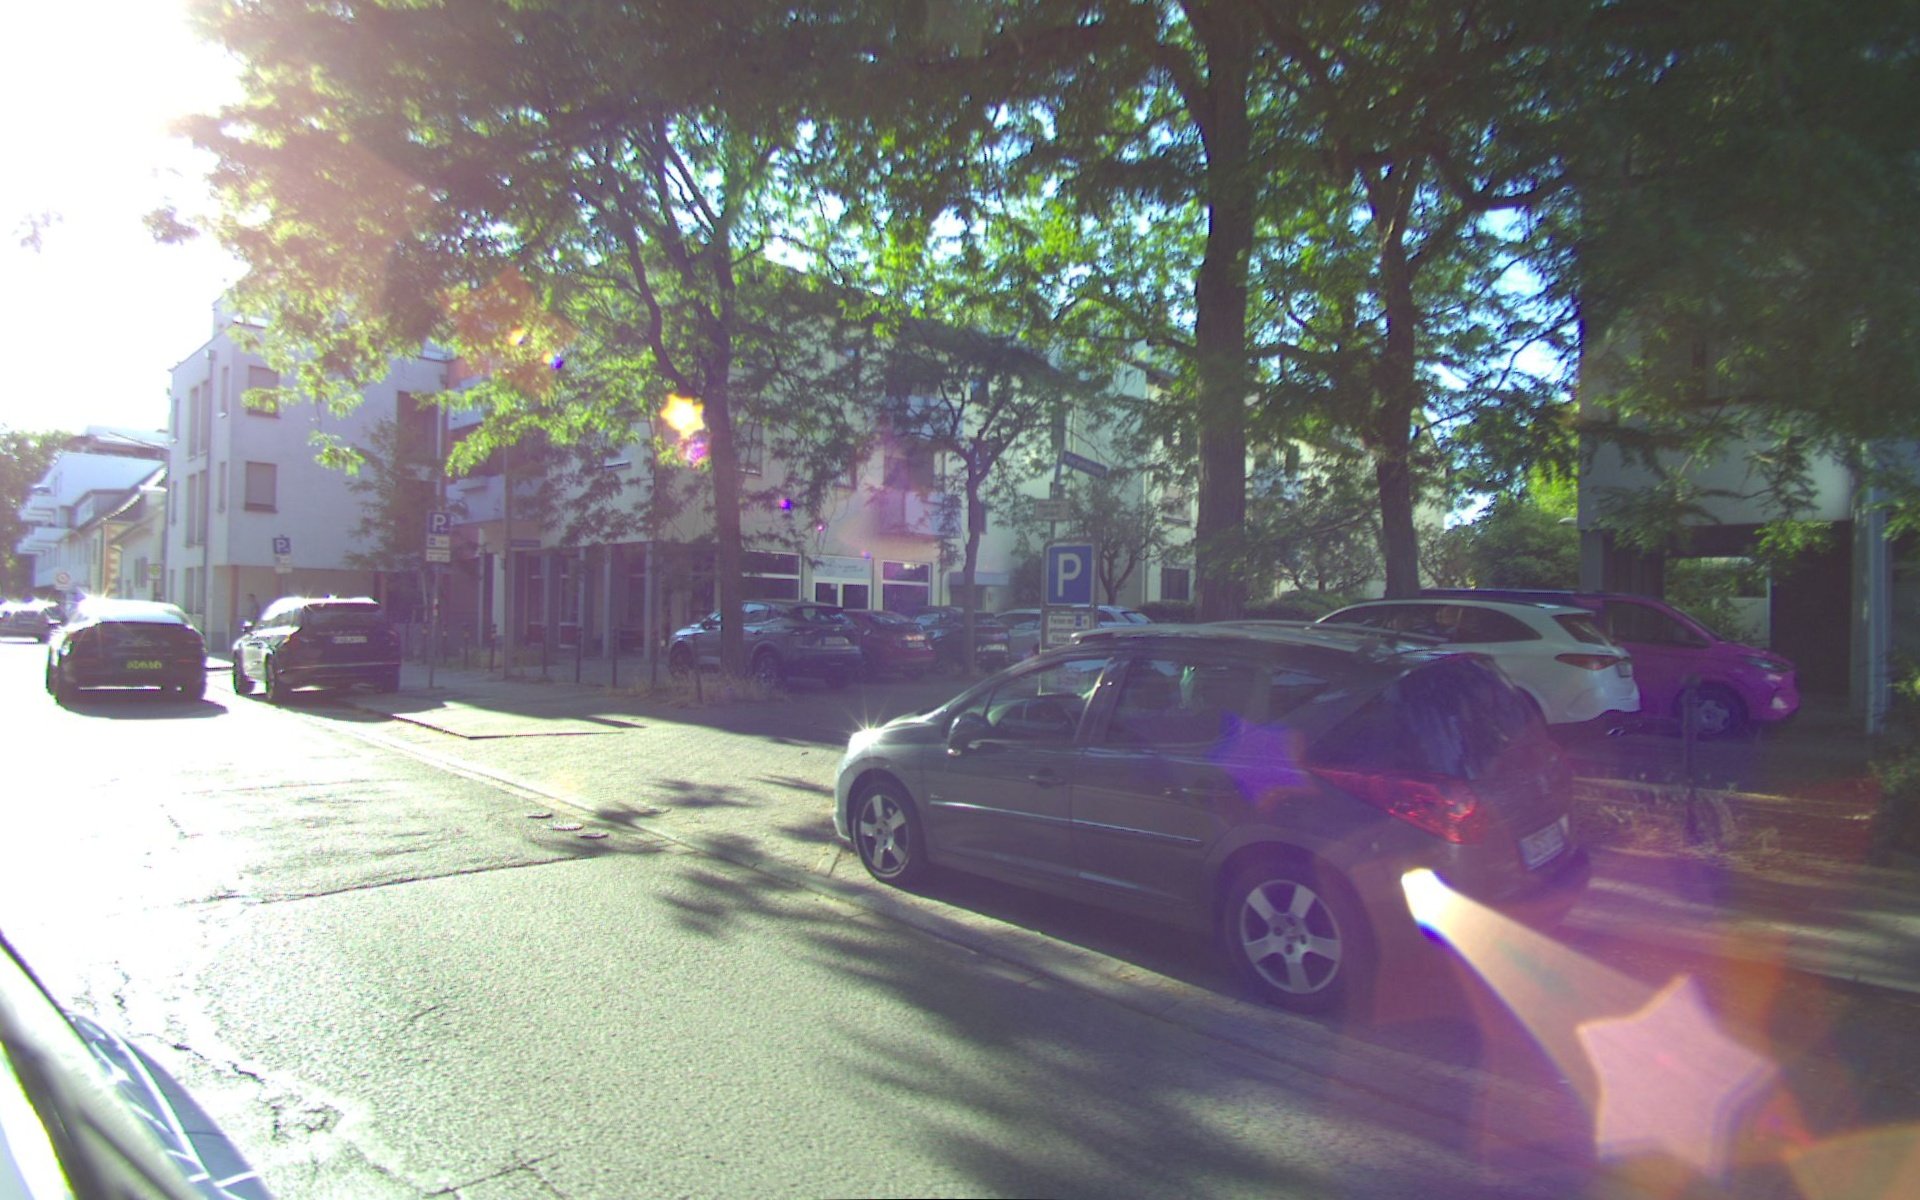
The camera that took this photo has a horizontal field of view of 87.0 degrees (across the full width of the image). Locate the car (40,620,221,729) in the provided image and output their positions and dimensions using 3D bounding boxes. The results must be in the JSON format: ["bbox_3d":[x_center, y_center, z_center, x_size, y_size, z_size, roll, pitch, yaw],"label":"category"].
[{"bbox_3d":[-14.128,1.167,17.144,4.321,1.588,1.916,-1,-3,45],"label":"car"}]

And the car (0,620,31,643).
[{"bbox_3d":[-65.256,2.136,69.424,4.002,1.478,1.971,-1,-3,44],"label":"car"}]

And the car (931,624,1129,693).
[{"bbox_3d":[1.686,1.402,25.626,4.832,1.486,1.972,-1,0,43],"label":"car"}]

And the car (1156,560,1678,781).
[{"bbox_3d":[4.751,0.674,11.117,4.906,1.909,1.823,-2,-2,43],"label":"car"}]

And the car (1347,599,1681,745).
[{"bbox_3d":[8.483,1.011,15.669,4.314,1.963,2.000,-1,-2,35],"label":"car"}]

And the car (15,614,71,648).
[{"bbox_3d":[-51.376,1.688,56.668,4.002,1.640,1.972,-1,4,44],"label":"car"}]

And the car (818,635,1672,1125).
[{"bbox_3d":[1.130,0.969,5.289,1.677,1.503,4.003,1,-2,-44],"label":"car"}]

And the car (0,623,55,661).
[{"bbox_3d":[-38.148,1.677,41.039,4.000,1.478,1.787,-1,-2,43],"label":"car"}]

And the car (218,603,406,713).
[{"bbox_3d":[-12.042,0.957,18.640,1.909,1.718,5.104,-1,0,-44],"label":"car"}]

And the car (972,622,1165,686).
[{"bbox_3d":[2.817,1.386,27.420,1.916,1.572,5.190,1,-2,-44],"label":"car"}]

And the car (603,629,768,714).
[{"bbox_3d":[-5.265,1.291,19.175,1.502,1.419,3.643,3,-2,-42],"label":"car"}]
